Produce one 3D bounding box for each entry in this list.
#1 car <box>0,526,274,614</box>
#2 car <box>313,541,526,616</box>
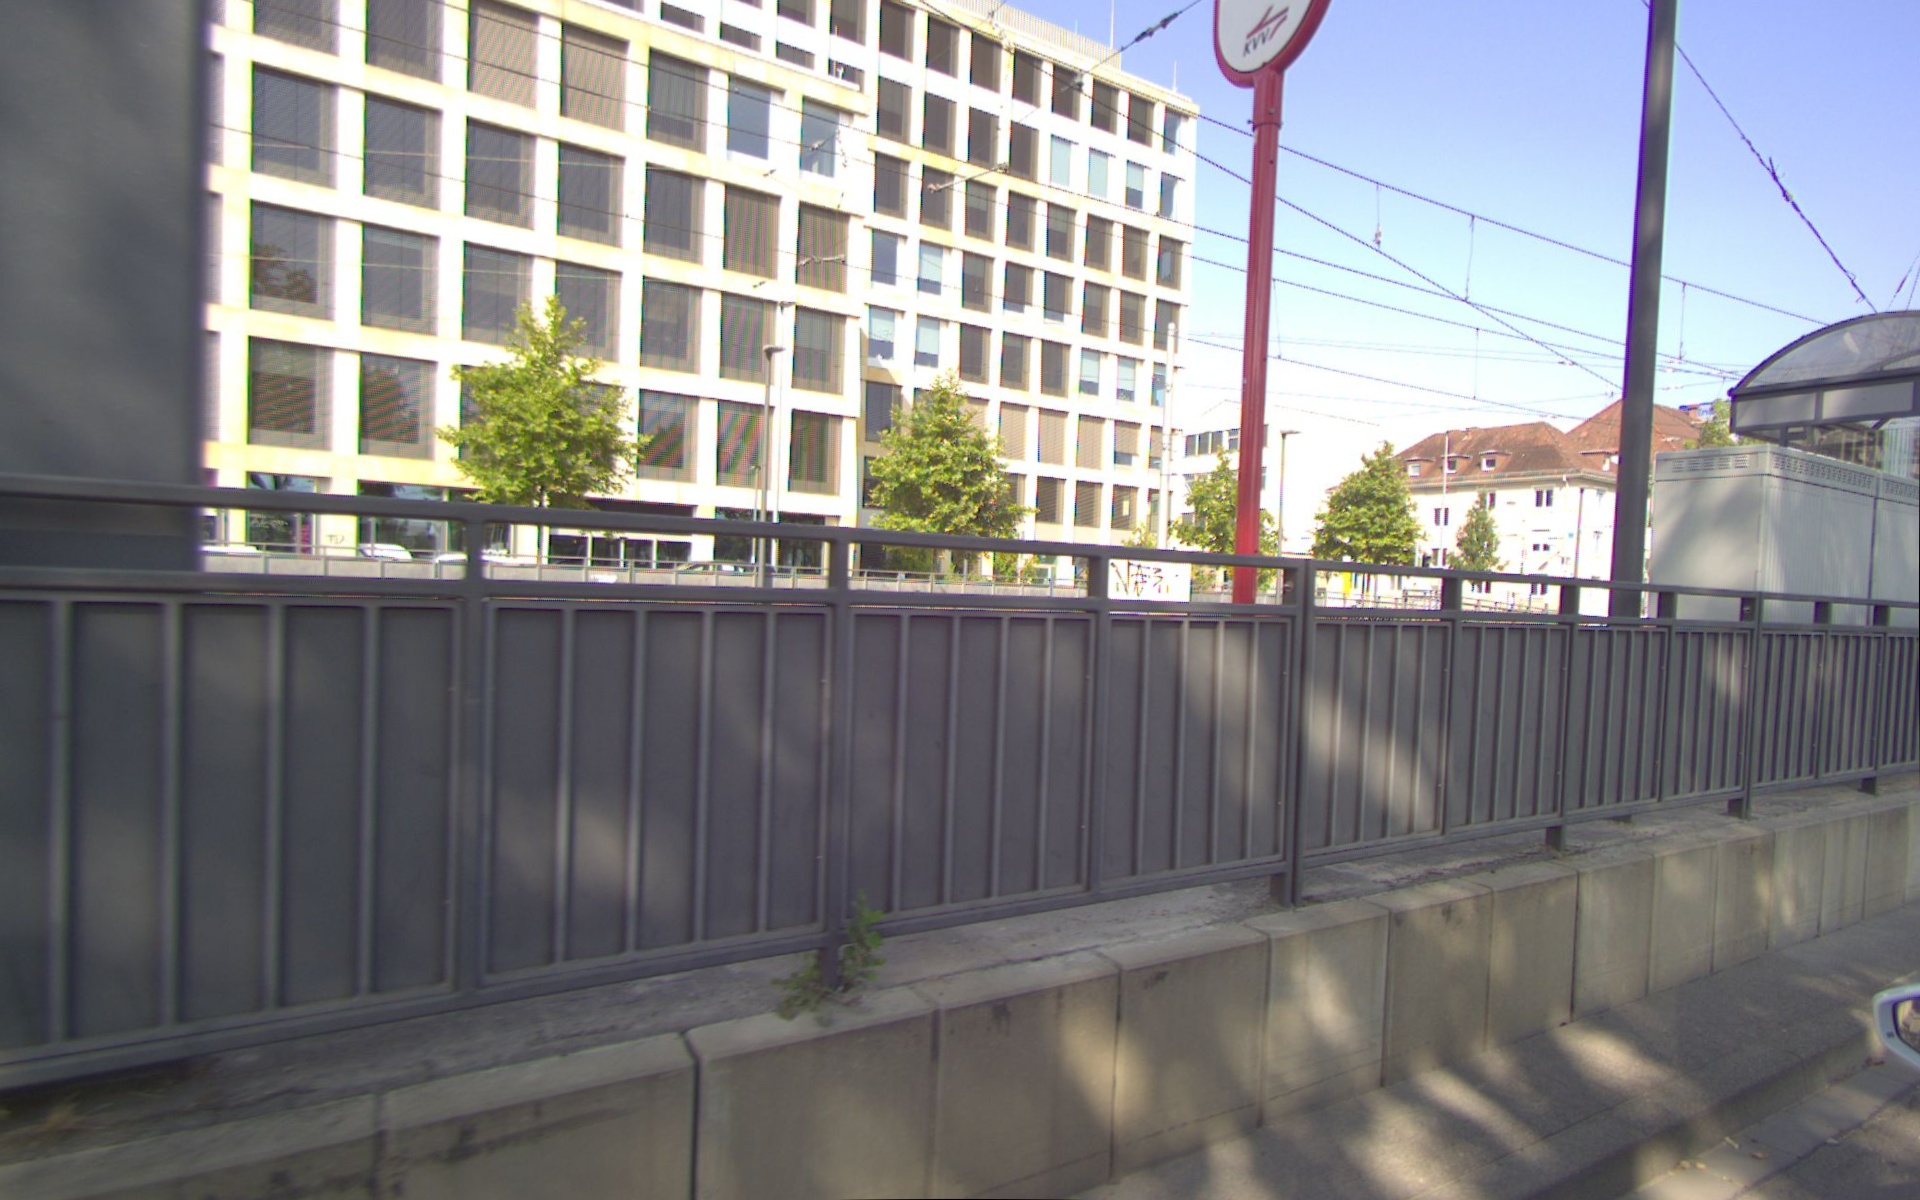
[{"bbox_3d":[-15.625,-0.526,19.283,3.965,1.465,1.700,2,0,-33],"label":"car"},{"bbox_3d":[-11.790,-0.429,22.021,3.965,1.465,1.700,2,0,-33],"label":"car"}]
